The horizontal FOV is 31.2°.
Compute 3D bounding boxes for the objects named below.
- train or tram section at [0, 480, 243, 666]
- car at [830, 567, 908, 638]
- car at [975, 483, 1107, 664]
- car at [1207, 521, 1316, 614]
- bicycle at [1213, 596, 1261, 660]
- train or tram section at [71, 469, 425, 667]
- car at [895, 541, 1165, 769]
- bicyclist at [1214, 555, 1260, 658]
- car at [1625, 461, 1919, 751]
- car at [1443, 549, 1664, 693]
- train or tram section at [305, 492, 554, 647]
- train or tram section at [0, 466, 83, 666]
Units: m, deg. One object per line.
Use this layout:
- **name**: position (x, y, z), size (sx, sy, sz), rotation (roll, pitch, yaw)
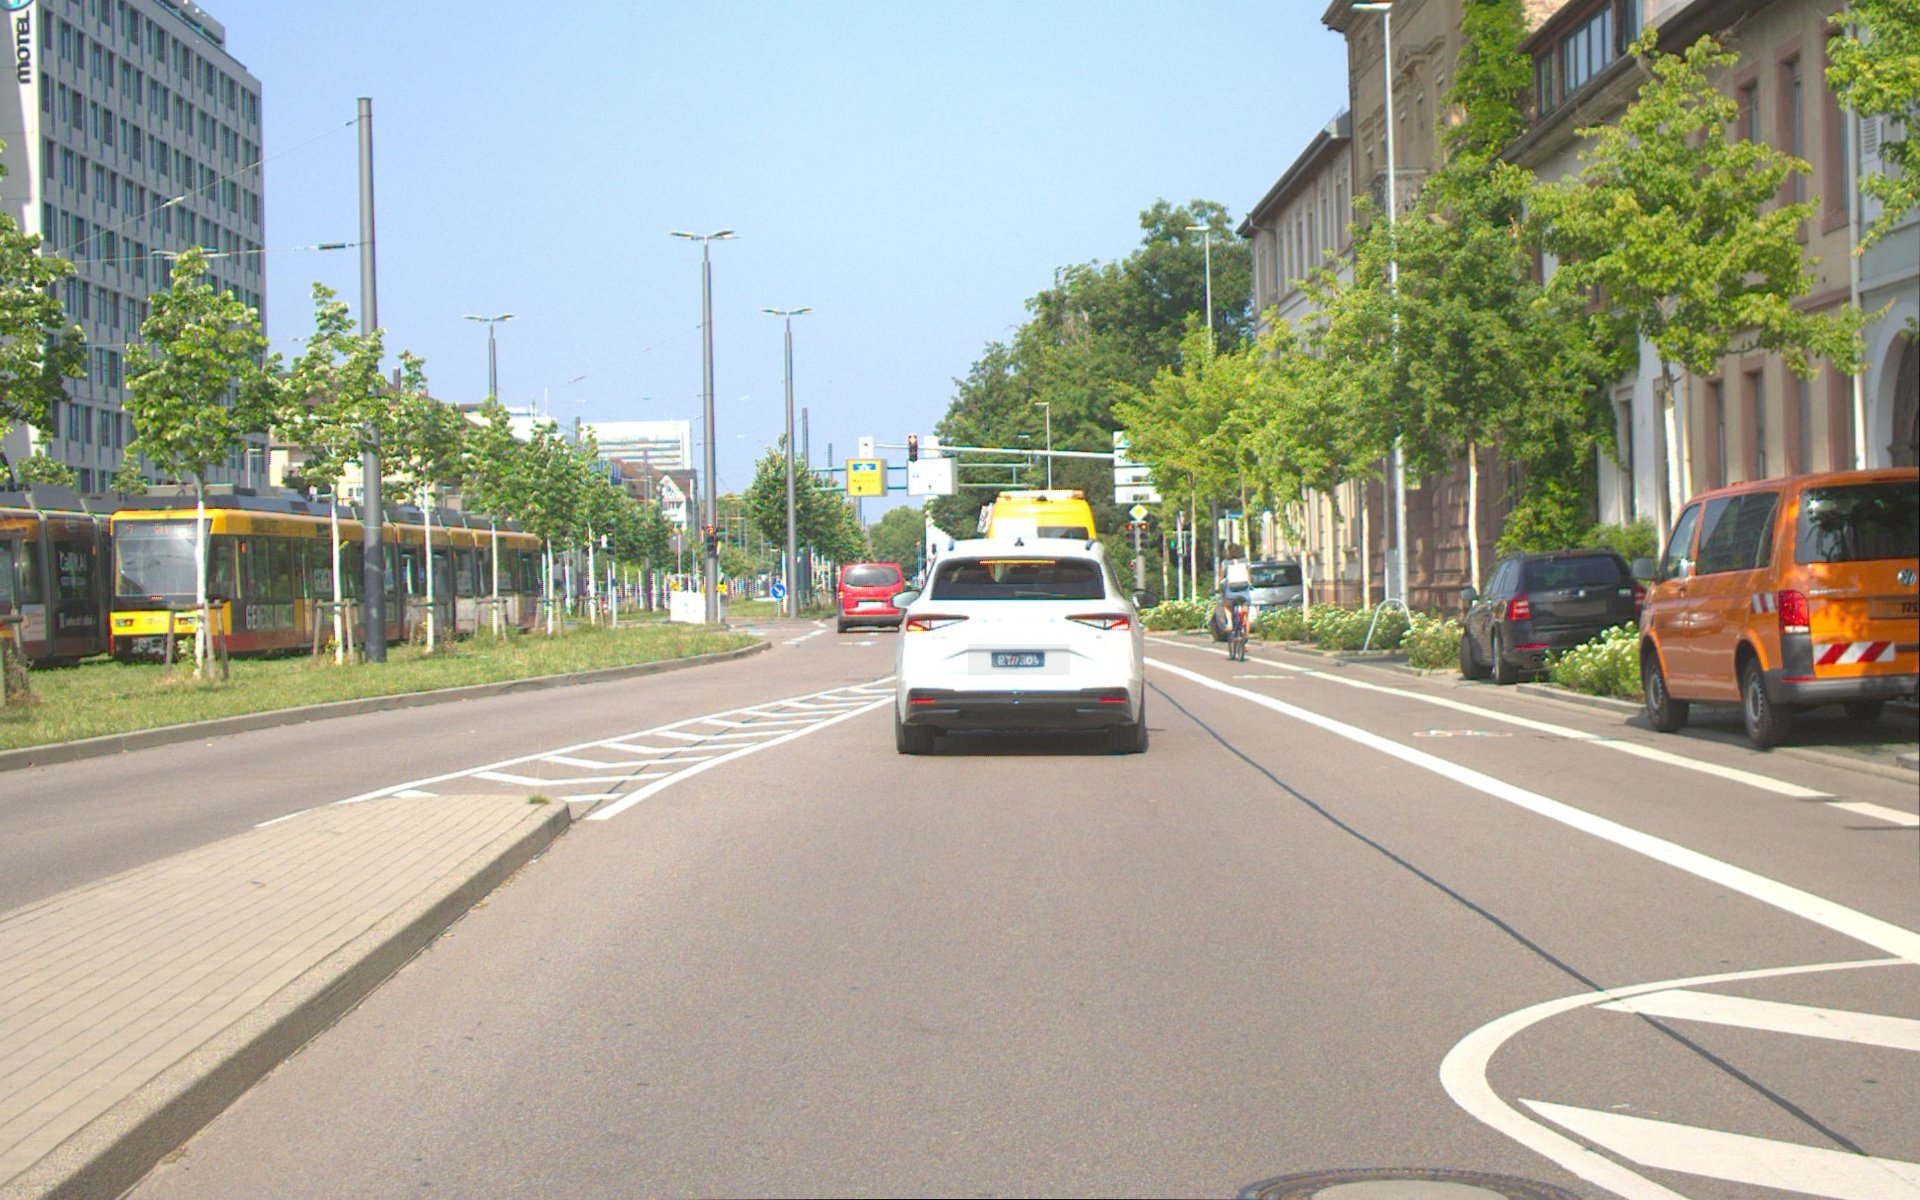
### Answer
- **train or tram section**: position (-18.113, -0.586, 72.540), size (2.881, 3.525, 13.609), rotation (-1, 1, 1)
- **car**: position (-2.435, 0.054, 93.160), size (1.930, 1.815, 4.000), rotation (-1, 1, 1)
- **car**: position (1.314, -0.516, 57.712), size (2.020, 2.786, 5.401), rotation (-1, 3, 0)
- **car**: position (6.077, -0.669, 69.706), size (1.812, 1.806, 3.836), rotation (-1, 1, -1)
- **bicycle**: position (4.257, 0.421, 52.870), size (0.655, 0.935, 1.517), rotation (-1, 1, 2)
- **train or tram section**: position (-14.629, -0.658, 72.875), size (2.906, 3.663, 18.135), rotation (0, 0, 3)
- **car**: position (0.492, 0.361, 26.254), size (1.870, 1.569, 4.000), rotation (-1, 1, 0)
- **bicyclist**: position (4.255, 0.092, 52.884), size (0.639, 1.571, 0.771), rotation (-1, 1, 2)
- **car**: position (6.617, -0.022, 26.339), size (2.063, 2.007, 4.588), rotation (-1, 1, -1)
- **car**: position (6.724, 0.212, 39.351), size (1.673, 1.478, 4.312), rotation (-3, 0, -1)
- **train or tram section**: position (-13.727, -0.784, 91.060), size (2.906, 3.694, 18.288), rotation (0, 0, 3)
- **train or tram section**: position (-18.370, -0.542, 58.295), size (2.860, 3.525, 14.898), rotation (-1, 1, 1)
